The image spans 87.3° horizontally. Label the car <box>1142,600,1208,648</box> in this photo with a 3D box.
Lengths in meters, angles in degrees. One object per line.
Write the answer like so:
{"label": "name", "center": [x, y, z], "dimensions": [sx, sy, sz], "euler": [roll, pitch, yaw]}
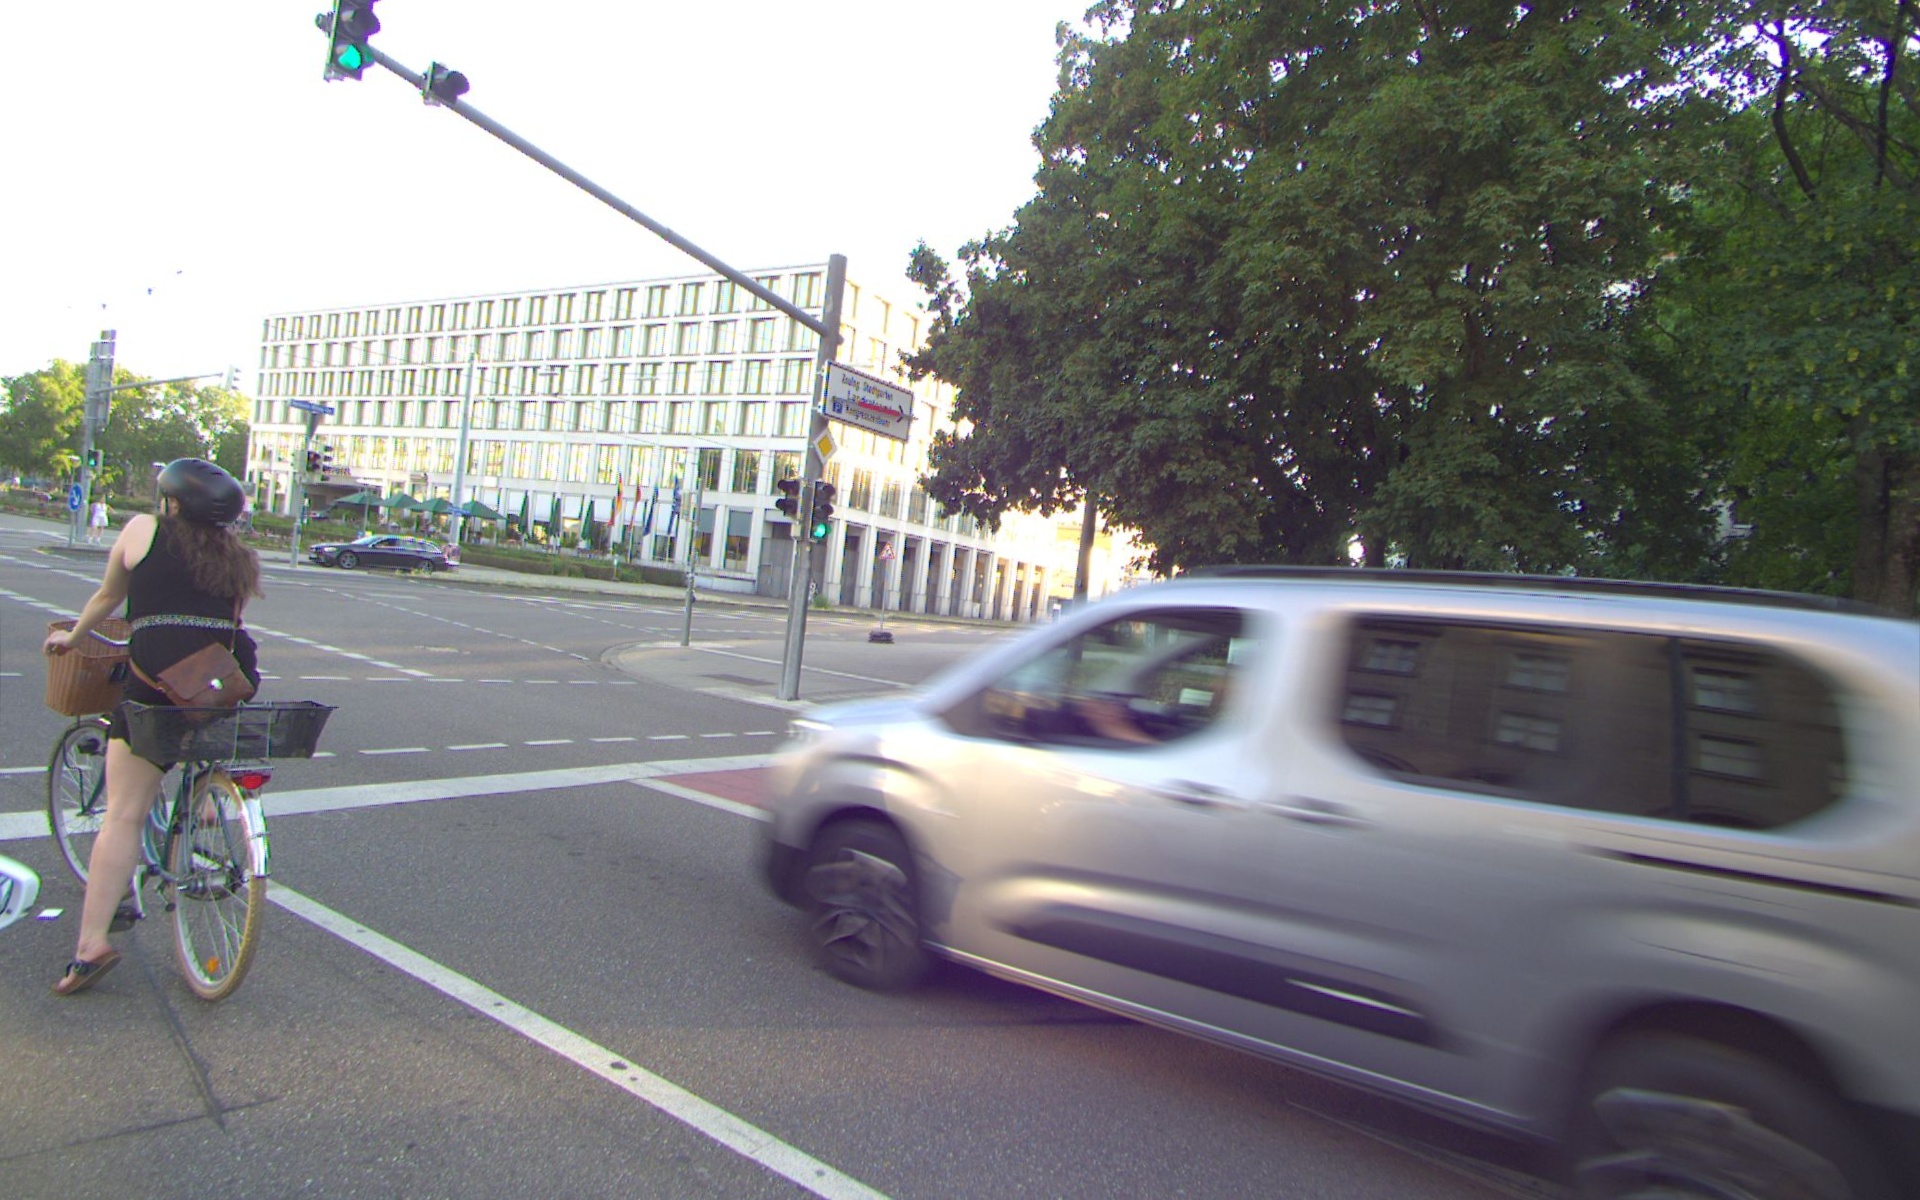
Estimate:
{"label": "car", "center": [11.923, 1.349, 55.560], "dimensions": [1.967, 2.318, 4.605], "euler": [6, 0, 31]}

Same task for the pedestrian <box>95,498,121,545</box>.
{"label": "pedestrian", "center": [-29.765, -2.733, 35.134], "dimensions": [0.402, 1.559, 0.491], "euler": [7, 2, 31]}

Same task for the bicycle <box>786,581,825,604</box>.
{"label": "bicycle", "center": [-9.034, -0.405, 59.102], "dimensions": [0.592, 1.120, 2.775], "euler": [7, 0, 29]}

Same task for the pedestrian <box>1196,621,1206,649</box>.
{"label": "pedestrian", "center": [13.380, 1.928, 55.828], "dimensions": [0.302, 1.525, 0.336], "euler": [7, -1, 31]}

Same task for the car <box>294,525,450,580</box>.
{"label": "car", "center": [-22.980, -1.828, 39.484], "dimensions": [1.968, 1.534, 4.826], "euler": [7, 0, 34]}

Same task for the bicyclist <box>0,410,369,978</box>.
{"label": "bicyclist", "center": [-2.680, 0.251, 3.423], "dimensions": [0.982, 1.655, 0.600], "euler": [7, 0, 32]}

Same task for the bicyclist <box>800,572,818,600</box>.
{"label": "bicyclist", "center": [-8.893, -0.836, 59.277], "dimensions": [0.567, 1.556, 0.708], "euler": [7, 1, 29]}

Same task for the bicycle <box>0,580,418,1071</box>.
{"label": "bicycle", "center": [-2.777, 0.610, 3.450], "dimensions": [1.971, 1.146, 0.612], "euler": [7, -1, 32]}

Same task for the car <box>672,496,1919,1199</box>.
{"label": "car", "center": [1.158, 0.788, 4.015], "dimensions": [4.425, 1.911, 1.765], "euler": [7, -1, 32]}
